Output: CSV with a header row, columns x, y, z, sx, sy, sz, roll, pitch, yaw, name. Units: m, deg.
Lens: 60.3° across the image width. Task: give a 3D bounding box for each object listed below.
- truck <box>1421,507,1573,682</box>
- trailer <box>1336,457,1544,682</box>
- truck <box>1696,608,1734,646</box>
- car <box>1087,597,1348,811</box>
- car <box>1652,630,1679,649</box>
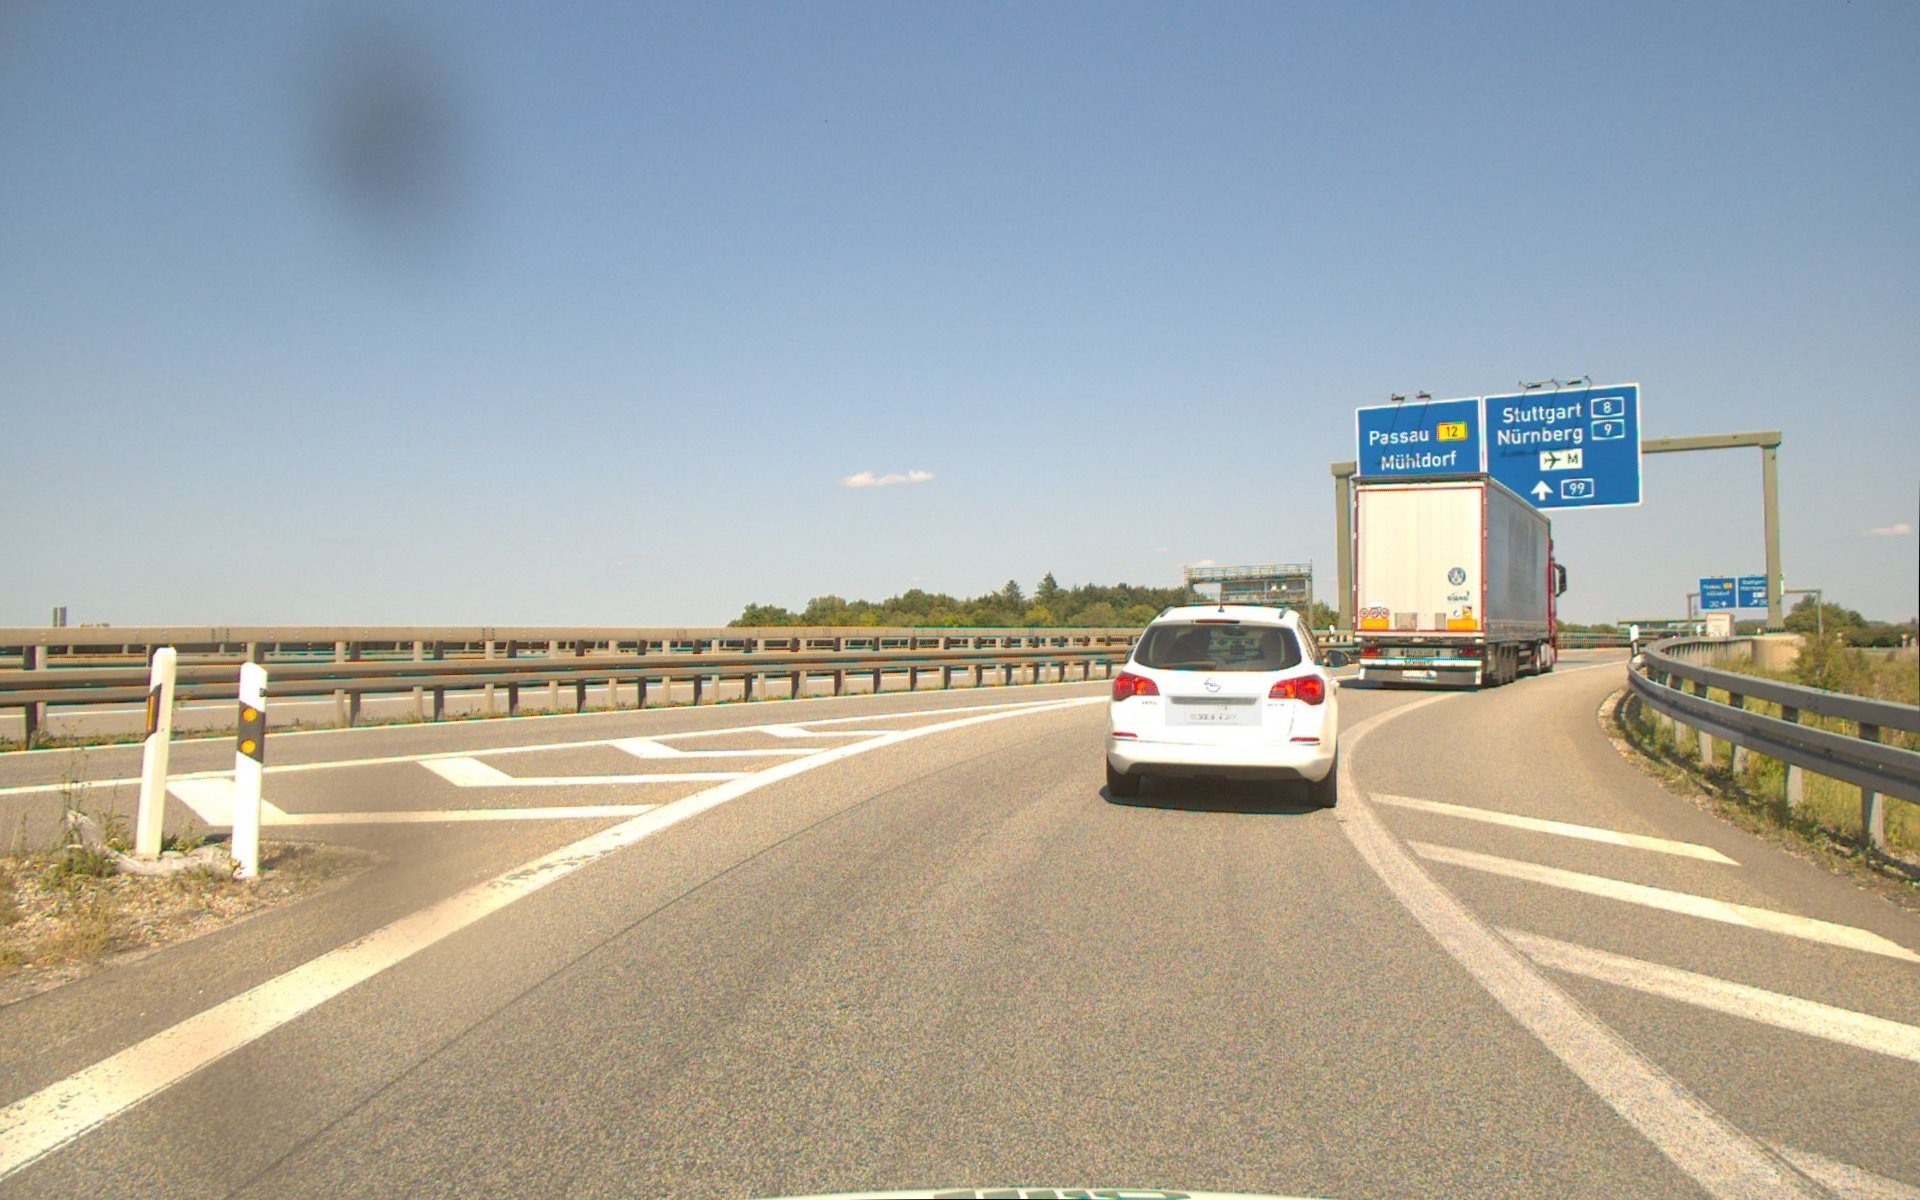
x,y,z,sx,sy,sz,roll,pitch,yaw,name
14.260,-0.004,43.580,2.855,4.218,6.918,0,-2,26,truck
10.944,-0.362,36.713,2.854,4.218,11.249,0,-2,24,trailer
89.957,3.279,196.951,3.471,4.218,11.242,2,-1,27,truck
2.308,0.754,13.858,1.815,1.468,4.375,1,-1,13,car
56.575,3.193,132.619,1.622,1.404,3.993,2,-1,29,car
